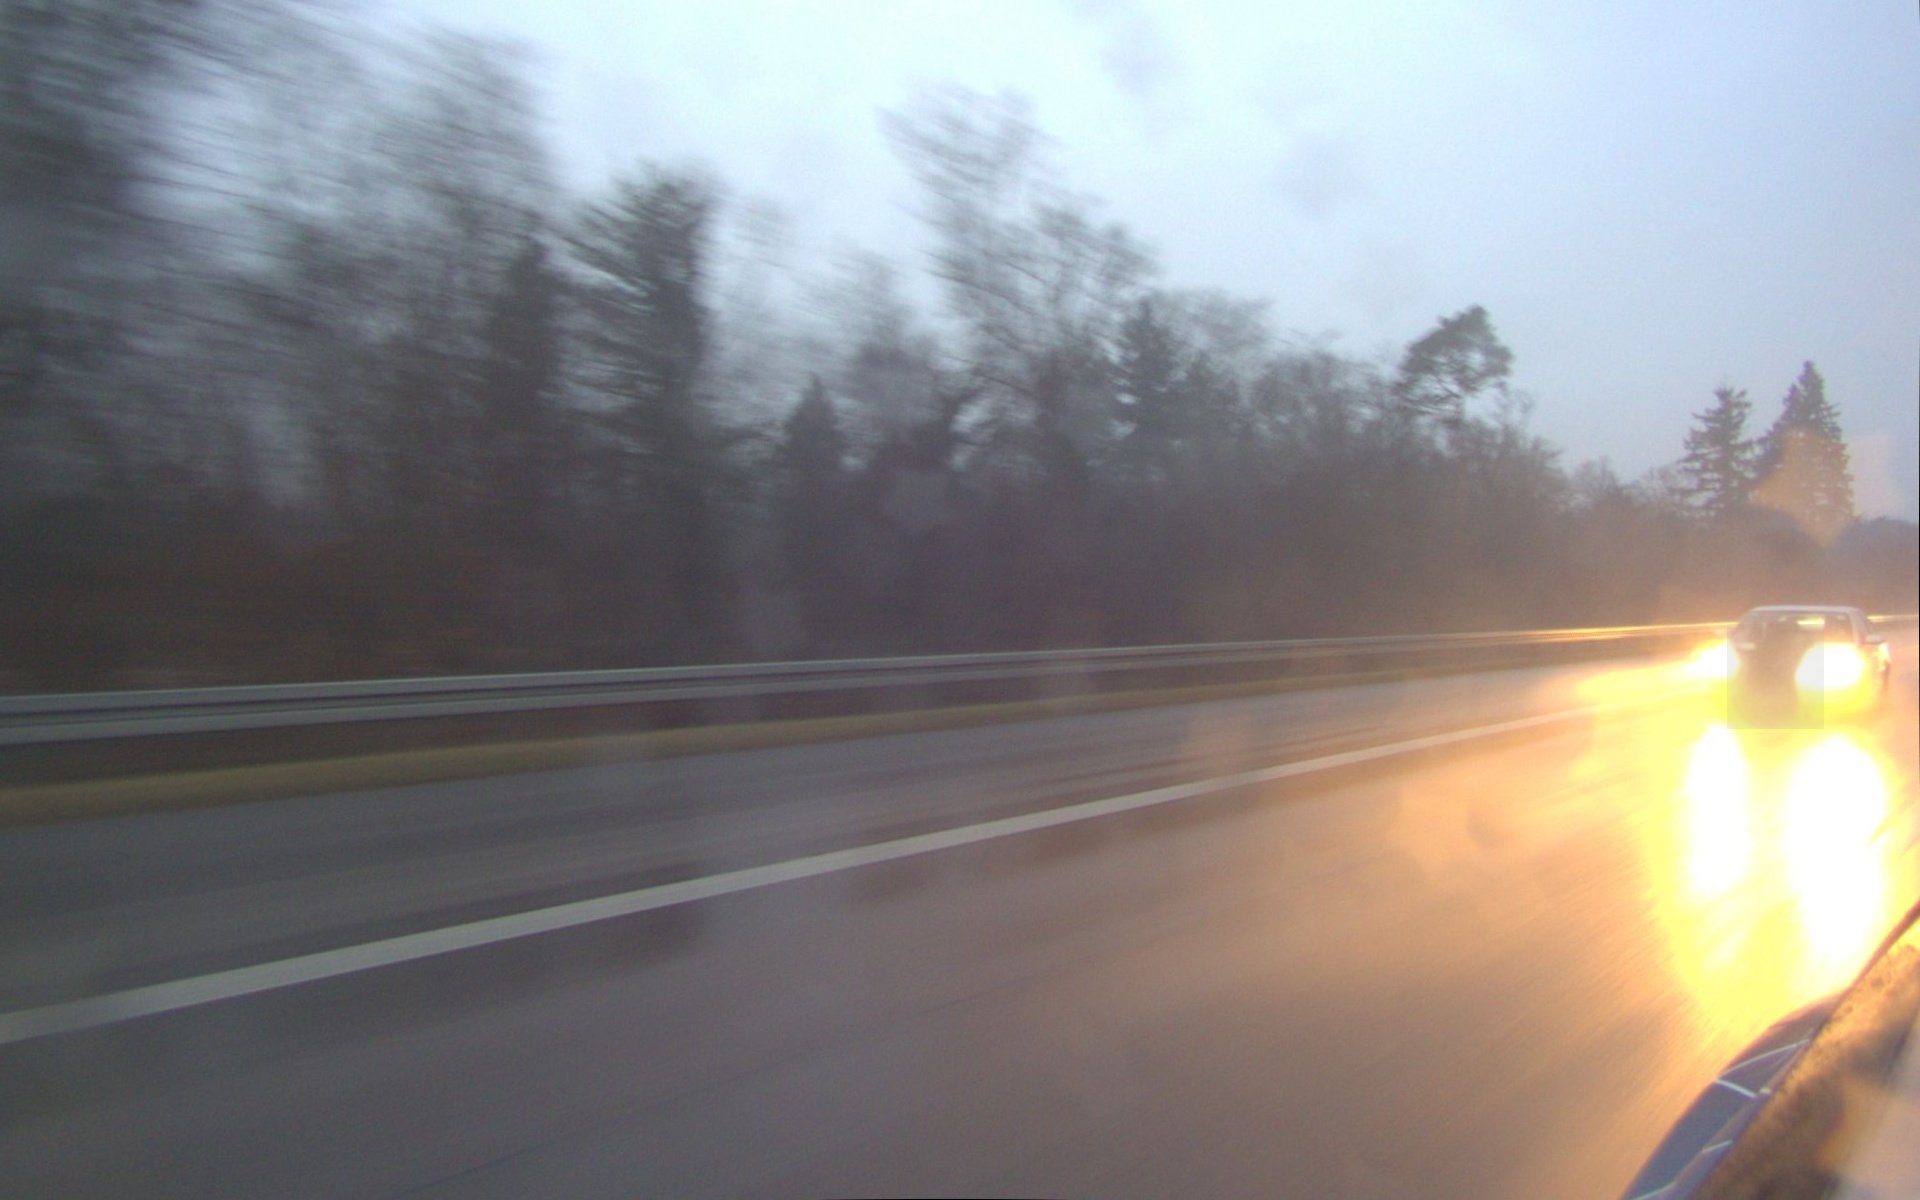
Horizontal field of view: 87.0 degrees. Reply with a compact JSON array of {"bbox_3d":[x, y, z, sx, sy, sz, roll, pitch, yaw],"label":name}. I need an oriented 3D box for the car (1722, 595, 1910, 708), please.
[{"bbox_3d":[12.256,0.642,14.438,3.248,1.383,1.602,0,1,-42],"label":"car"}]
